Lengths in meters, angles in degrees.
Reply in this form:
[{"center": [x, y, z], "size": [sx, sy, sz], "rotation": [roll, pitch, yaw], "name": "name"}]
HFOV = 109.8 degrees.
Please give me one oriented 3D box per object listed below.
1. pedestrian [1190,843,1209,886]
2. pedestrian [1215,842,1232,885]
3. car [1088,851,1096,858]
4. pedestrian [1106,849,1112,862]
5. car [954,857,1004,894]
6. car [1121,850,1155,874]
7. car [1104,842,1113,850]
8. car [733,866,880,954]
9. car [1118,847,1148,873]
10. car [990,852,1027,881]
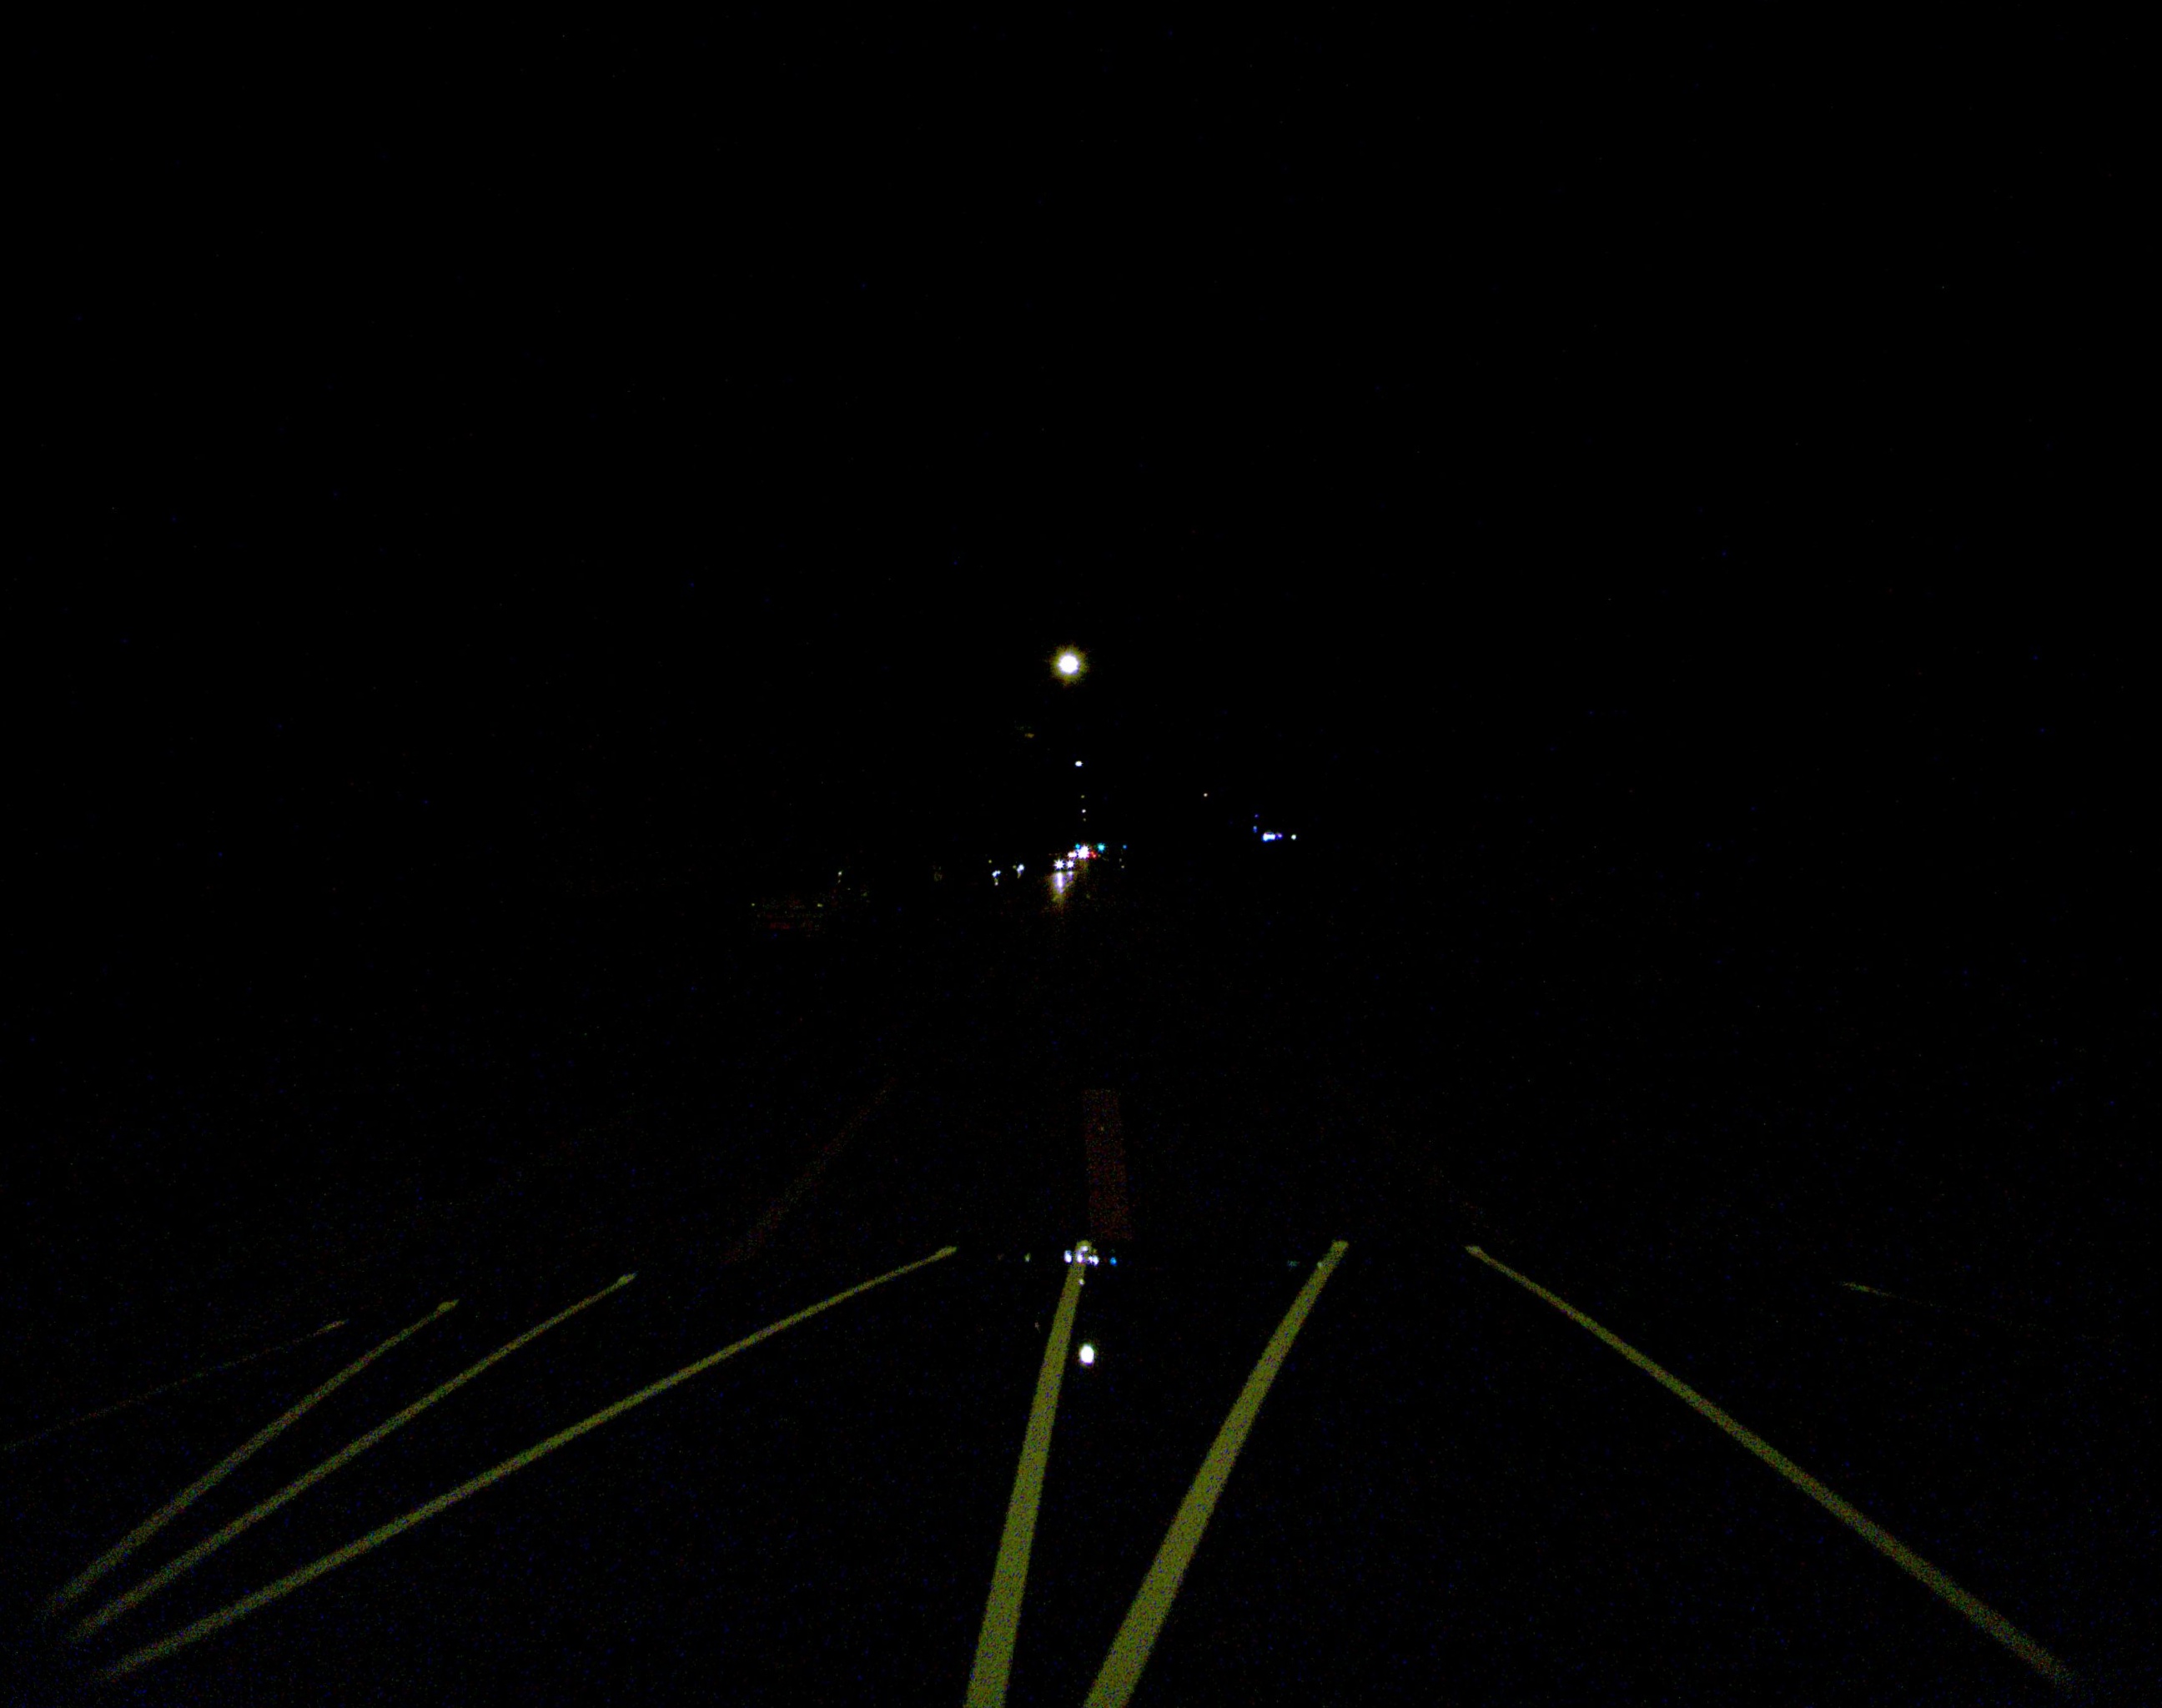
[{"center": [4.939, 0.426, 31.669], "size": [0.673, 1.750, 0.500], "rotation": [-2, 1, 1], "name": "pedestrian"}, {"center": [5.933, 0.387, 31.719], "size": [0.565, 1.750, 0.500], "rotation": [-2, 1, 1], "name": "pedestrian"}, {"center": [2.390, 0.132, 166.785], "size": [1.754, 1.433, 3.487], "rotation": [-2, -2, 1], "name": "car"}, {"center": [4.344, 0.279, 118.173], "size": [0.804, 2.002, 0.940], "rotation": [-2, 1, 1], "name": "pedestrian"}, {"center": [-4.475, 0.908, 33.934], "size": [1.742, 1.489, 3.890], "rotation": [-1, 0, -1], "name": "car"}, {"center": [3.884, 0.520, 52.068], "size": [1.998, 1.477, 3.999], "rotation": [-3, 1, 1], "name": "car"}, {"center": [5.566, -1.578, 153.958], "size": [1.903, 1.581, 3.661], "rotation": [-2, 1, 2], "name": "car"}, {"center": [-5.277, 1.009, 15.090], "size": [1.611, 1.500, 3.486], "rotation": [0, 0, 1], "name": "car"}, {"center": [3.858, 0.406, 56.954], "size": [1.998, 1.772, 3.999], "rotation": [-2, 1, 1], "name": "car"}, {"center": [-4.466, 0.756, 47.467], "size": [1.852, 1.643, 4.179], "rotation": [-2, 0, 0], "name": "car"}]
